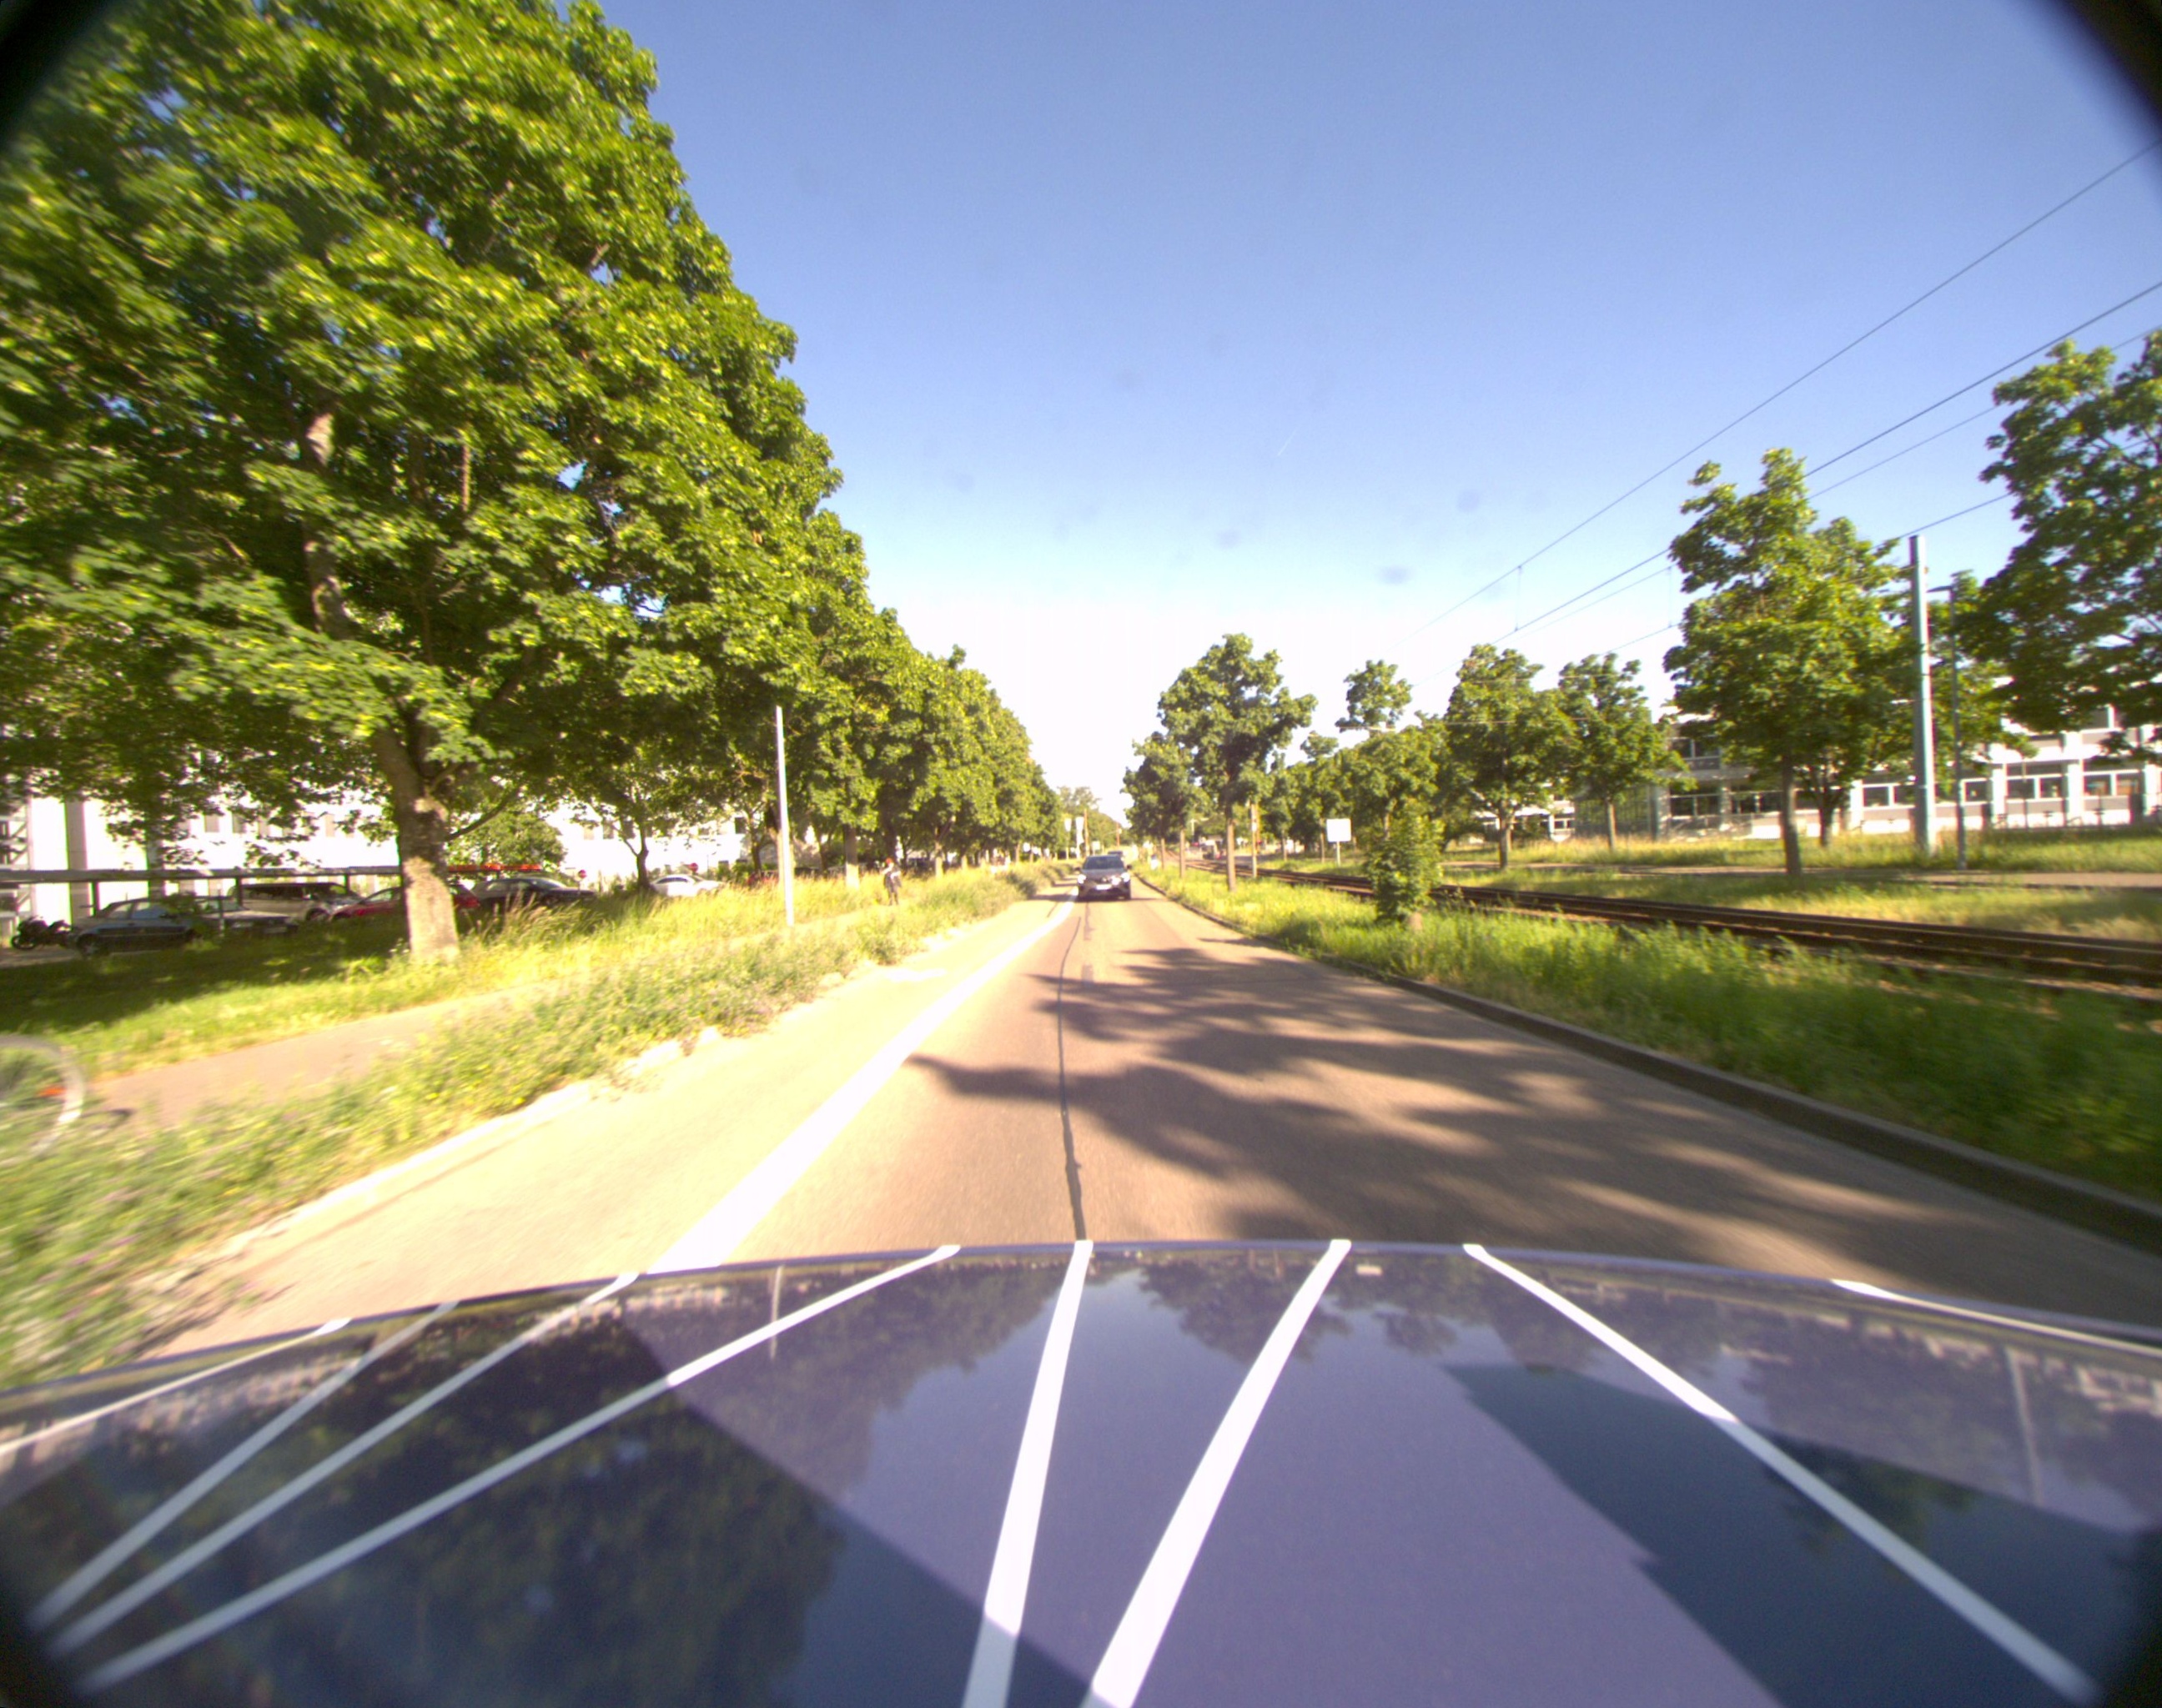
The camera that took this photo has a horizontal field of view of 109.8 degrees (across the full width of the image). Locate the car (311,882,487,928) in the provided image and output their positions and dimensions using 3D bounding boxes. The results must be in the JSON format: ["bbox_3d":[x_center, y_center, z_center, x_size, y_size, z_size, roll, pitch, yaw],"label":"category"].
[{"bbox_3d":[-22.417,1.657,25.064,4.301,1.316,1.941,-2,-1,7],"label":"car"}]

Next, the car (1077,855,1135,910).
[{"bbox_3d":[0.865,0.912,26.175,1.750,1.585,4.246,-3,1,2],"label":"car"}]

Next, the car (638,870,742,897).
[{"bbox_3d":[-21.216,1.578,41.362,4.709,1.263,1.807,-2,-1,0],"label":"car"}]

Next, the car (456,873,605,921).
[{"bbox_3d":[-21.587,1.663,29.923,4.403,1.587,1.883,-3,0,-1],"label":"car"}]

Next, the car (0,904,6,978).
[{"bbox_3d":[-22.334,1.727,13.494,4.174,1.423,1.825,-3,1,5],"label":"car"}]

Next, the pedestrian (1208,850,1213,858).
[{"bbox_3d":[19.847,0.008,116.733,0.650,1.242,0.681,0,1,-5],"label":"pedestrian"}]

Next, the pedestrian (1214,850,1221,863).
[{"bbox_3d":[18.341,0.376,102.225,0.785,1.741,0.781,-3,1,2],"label":"pedestrian"}]

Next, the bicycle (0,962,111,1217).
[{"bbox_3d":[-5.590,1.181,3.075,0.484,1.197,2.144,-2,-1,2],"label":"bicycle"}]

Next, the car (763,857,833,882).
[{"bbox_3d":[-20.409,1.098,54.954,4.348,1.690,1.765,-2,0,-7],"label":"car"}]

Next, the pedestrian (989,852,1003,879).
[{"bbox_3d":[-6.155,0.827,55.206,0.709,1.919,0.817,-3,1,8],"label":"pedestrian"}]

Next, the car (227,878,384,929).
[{"bbox_3d":[-33.409,2.114,32.838,4.760,1.938,1.974,-2,0,2],"label":"car"}]

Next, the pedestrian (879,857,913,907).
[{"bbox_3d":[-6.157,0.920,25.273,0.826,1.560,0.762,-3,1,3],"label":"pedestrian"}]

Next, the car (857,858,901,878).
[{"bbox_3d":[-19.705,1.384,74.096,1.922,1.741,5.442,-4,1,-40],"label":"car"}]

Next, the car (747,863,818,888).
[{"bbox_3d":[-20.665,1.461,52.706,4.244,1.527,1.765,-2,0,-7],"label":"car"}]

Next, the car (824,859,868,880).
[{"bbox_3d":[-20.193,1.314,65.280,3.976,1.629,1.727,-3,1,42],"label":"car"}]

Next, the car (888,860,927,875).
[{"bbox_3d":[-19.563,1.501,85.600,4.537,1.506,1.851,-3,1,38],"label":"car"}]

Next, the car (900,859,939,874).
[{"bbox_3d":[-18.997,1.478,89.258,4.537,1.440,1.851,-3,1,38],"label":"car"}]

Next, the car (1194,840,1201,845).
[{"bbox_3d":[39.015,-3.798,254.439,1.701,1.575,3.457,-2,0,2],"label":"car"}]

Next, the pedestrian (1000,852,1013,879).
[{"bbox_3d":[-5.400,0.825,55.025,0.709,1.907,0.817,-3,1,4],"label":"pedestrian"}]

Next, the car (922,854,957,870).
[{"bbox_3d":[-18.513,1.100,99.254,2.083,1.865,5.173,-4,1,-42],"label":"car"}]

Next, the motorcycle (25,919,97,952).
[{"bbox_3d":[-33.812,2.708,25.202,1.653,0.965,0.538,-2,1,1],"label":"motorcycle"}]

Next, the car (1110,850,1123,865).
[{"bbox_3d":[4.337,0.437,93.992,1.555,1.765,3.457,-2,0,2],"label":"car"}]

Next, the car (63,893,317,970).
[{"bbox_3d":[-21.490,1.831,18.453,4.005,1.516,1.706,-3,1,-1],"label":"car"}]
